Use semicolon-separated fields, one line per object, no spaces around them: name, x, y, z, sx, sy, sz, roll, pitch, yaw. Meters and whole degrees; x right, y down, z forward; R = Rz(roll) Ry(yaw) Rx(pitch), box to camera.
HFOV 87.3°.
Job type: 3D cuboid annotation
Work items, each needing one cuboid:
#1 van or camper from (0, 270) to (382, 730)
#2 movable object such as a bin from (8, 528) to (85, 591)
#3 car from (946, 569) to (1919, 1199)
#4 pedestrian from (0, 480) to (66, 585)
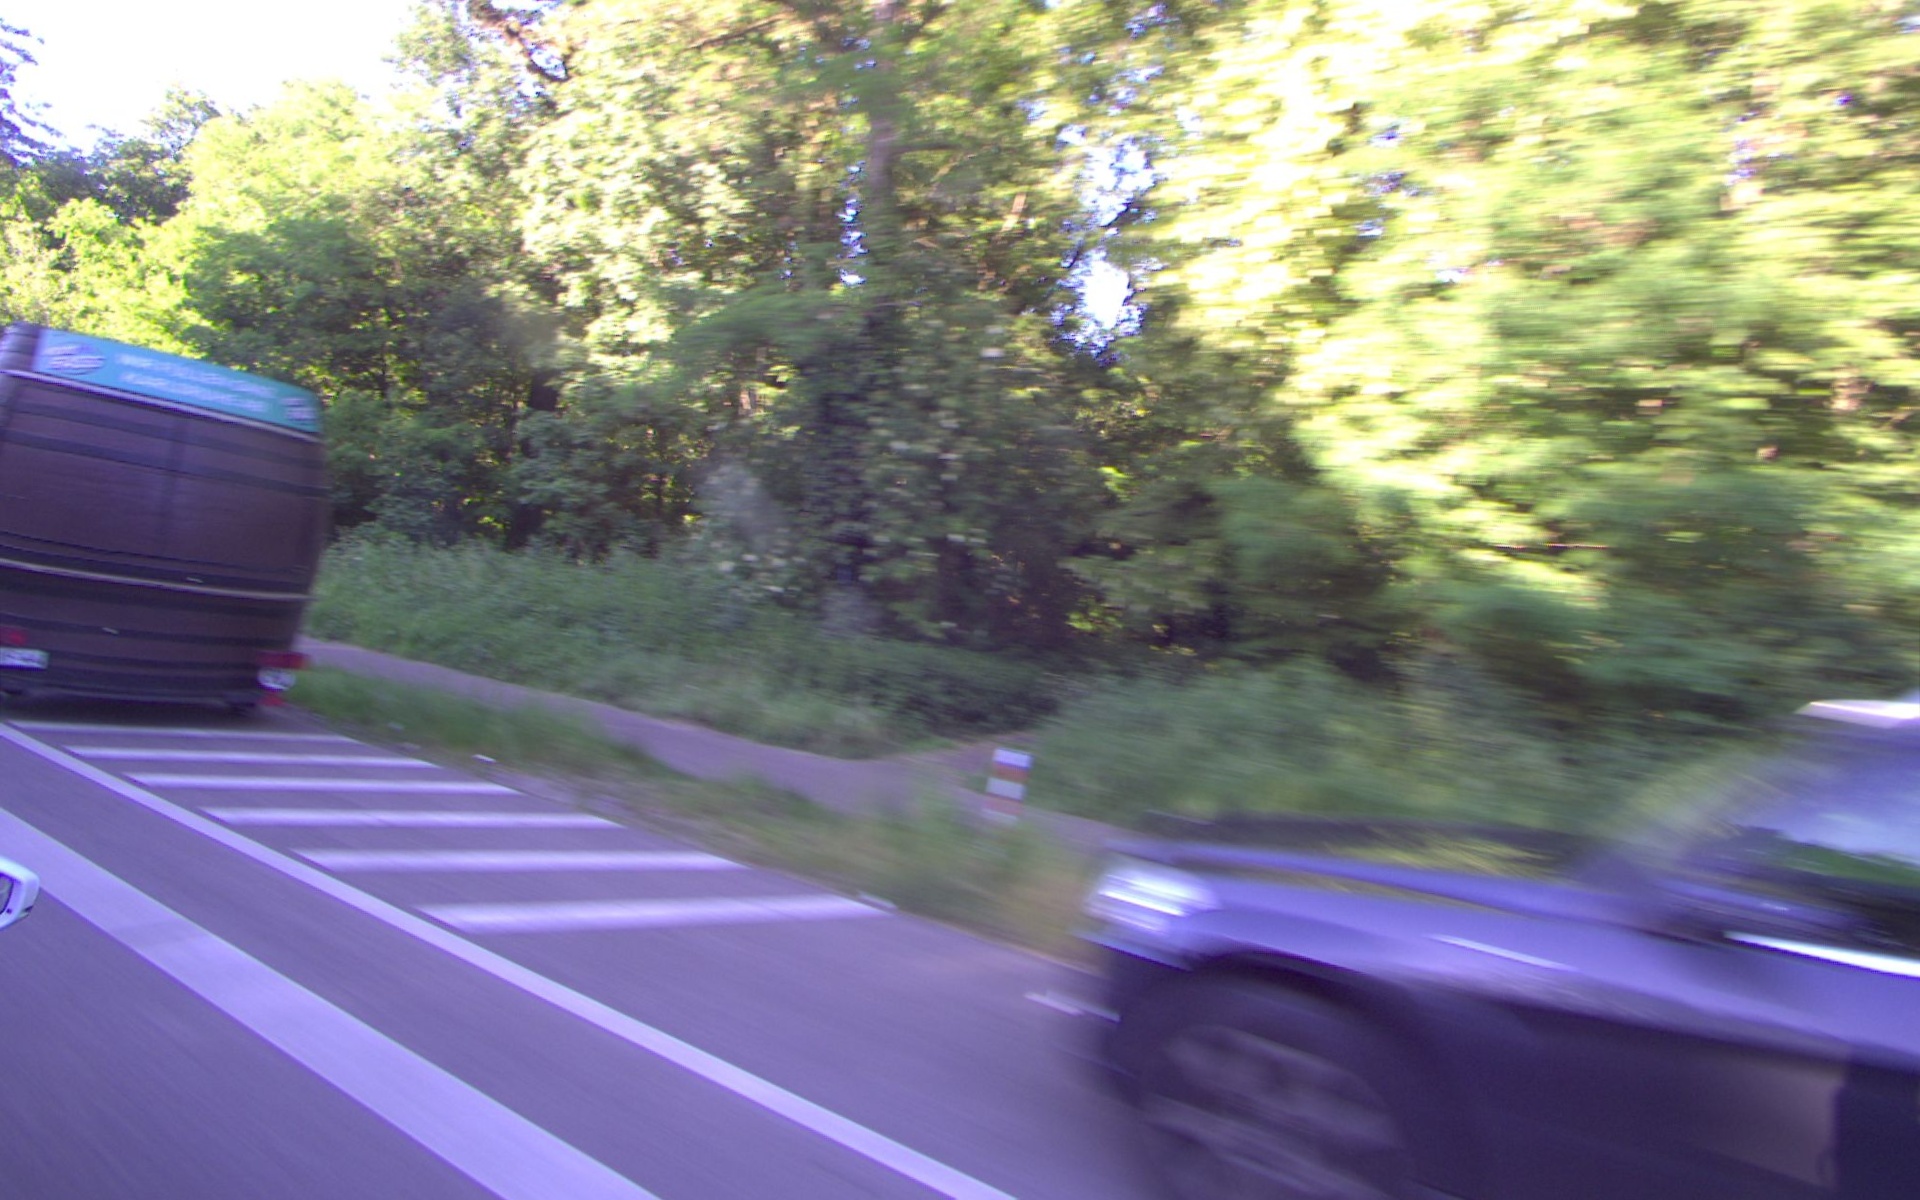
van or camper;-7.721;-0.807;9.175;2.435;2.834;6.472;7;0;-45
movable object such as a bin;-17.508;-0.782;19.290;0.970;1.060;0.790;7;1;32
car;2.385;1.057;2.466;4.477;1.684;1.715;7;-2;33
pedestrian;-18.340;-1.325;19.803;0.904;1.942;0.768;7;1;32
